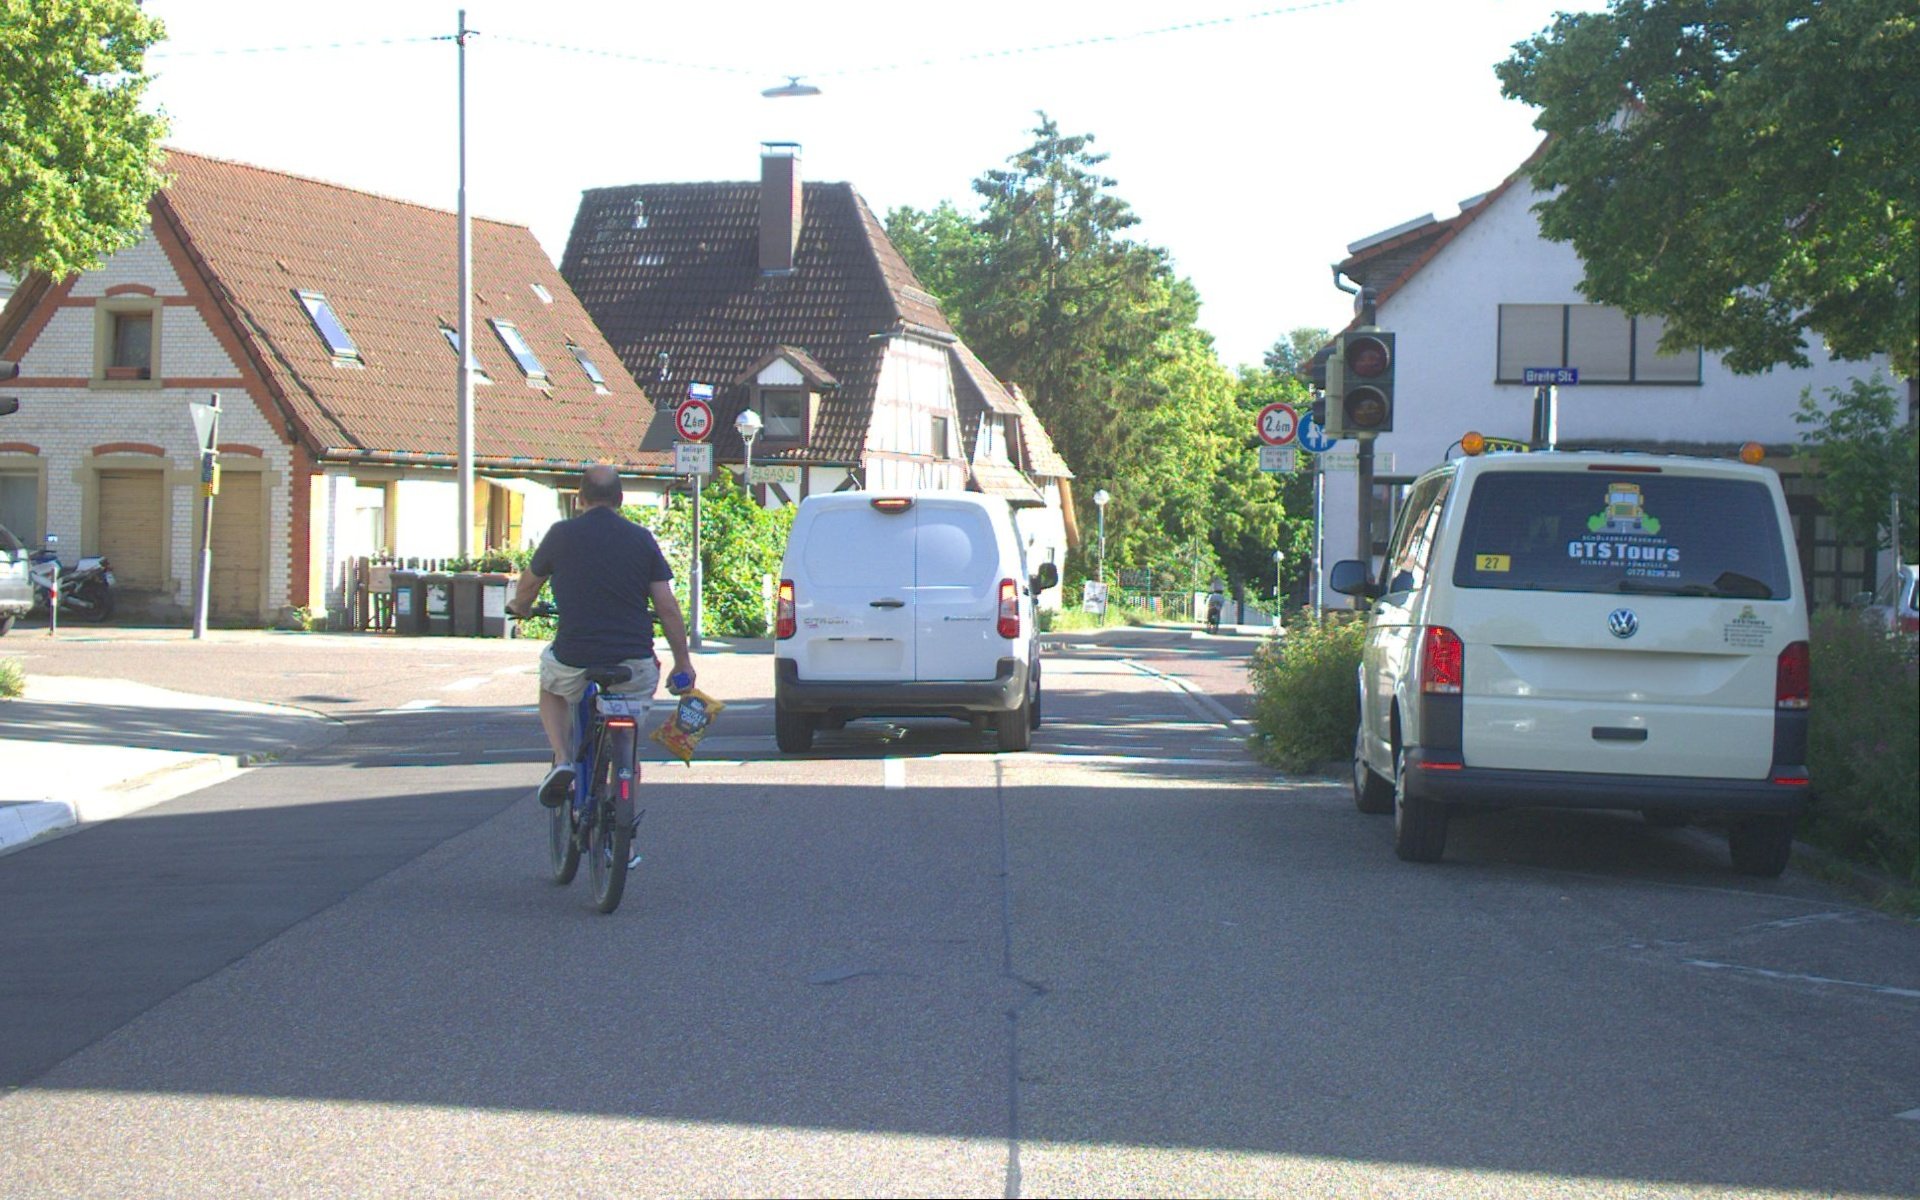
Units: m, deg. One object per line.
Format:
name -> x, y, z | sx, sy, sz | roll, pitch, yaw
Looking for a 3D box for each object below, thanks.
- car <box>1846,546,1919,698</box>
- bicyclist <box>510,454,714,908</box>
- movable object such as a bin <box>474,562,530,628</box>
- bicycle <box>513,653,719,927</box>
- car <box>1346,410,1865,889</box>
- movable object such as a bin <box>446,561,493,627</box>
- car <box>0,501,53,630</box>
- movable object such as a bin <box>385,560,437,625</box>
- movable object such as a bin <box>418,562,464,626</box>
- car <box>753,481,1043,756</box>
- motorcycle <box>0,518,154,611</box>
car -> 10.933, 0.212, 37.727 | 1.994, 1.416, 4.801 | 1, 3, 11
bicyclist -> -1.429, 0.313, 14.023 | 0.764, 1.782, 0.853 | 1, 1, -7
movable object such as a bin -> -6.571, -0.076, 49.344 | 0.556, 0.921, 0.625 | 1, 2, 19
bicycle -> -1.441, 0.733, 14.134 | 0.774, 0.937, 2.291 | 0, 1, -7
car -> 3.147, 0.190, 17.718 | 1.994, 2.072, 4.577 | 2, 1, 3
movable object such as a bin -> -7.064, -0.091, 49.513 | 0.411, 0.921, 0.625 | 1, 2, 19
car -> -14.750, -0.523, 46.775 | 4.223, 1.719, 1.944 | 2, 1, 15
movable object such as a bin -> -7.958, -0.107, 49.850 | 0.508, 0.921, 0.625 | 1, 2, 19
movable object such as a bin -> -7.496, -0.090, 49.650 | 0.412, 0.903, 0.625 | 1, 2, 19
car -> -0.365, 0.044, 25.528 | 1.957, 1.841, 4.560 | 0, 2, 1
motorcycle -> -12.984, -0.531, 50.145 | 2.244, 1.290, 0.882 | 1, 4, 20
